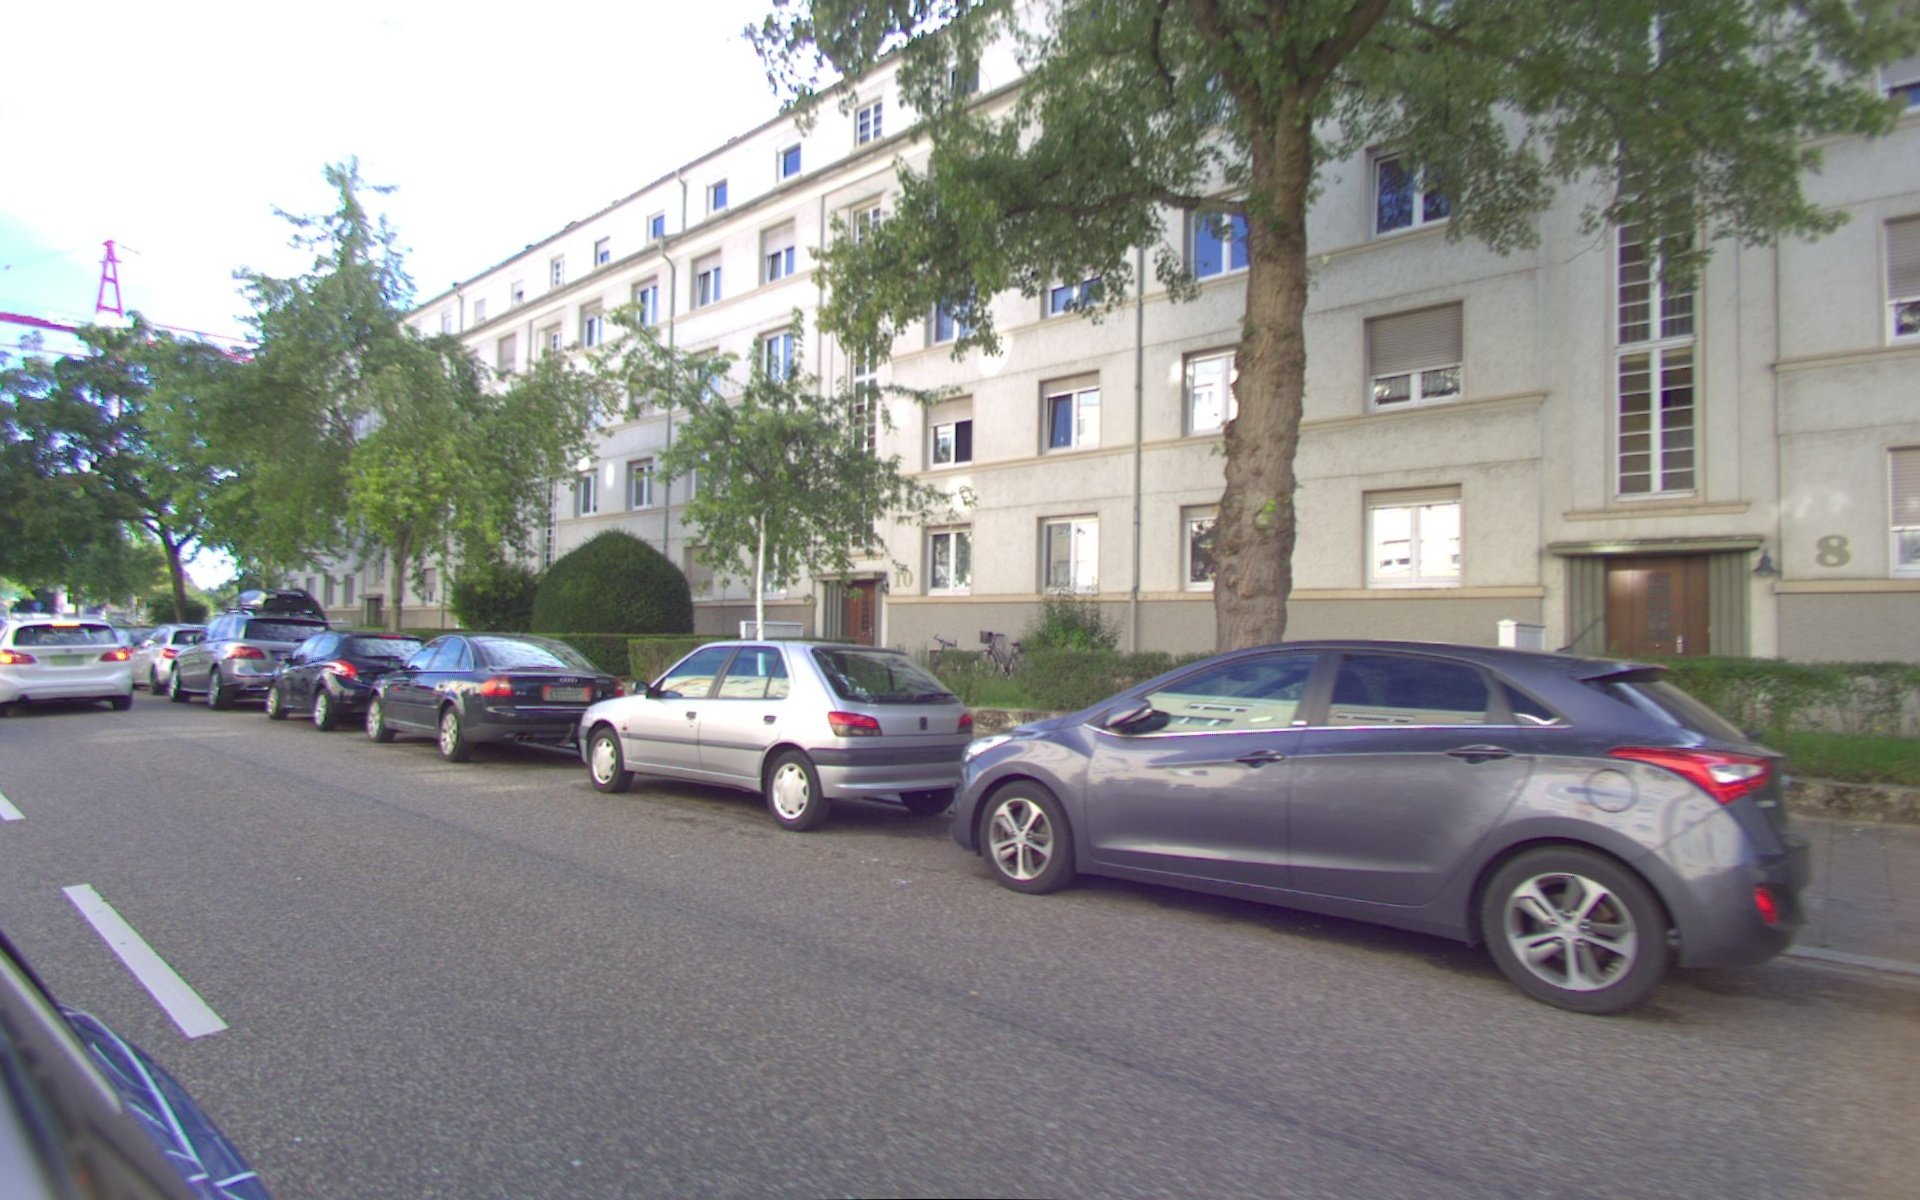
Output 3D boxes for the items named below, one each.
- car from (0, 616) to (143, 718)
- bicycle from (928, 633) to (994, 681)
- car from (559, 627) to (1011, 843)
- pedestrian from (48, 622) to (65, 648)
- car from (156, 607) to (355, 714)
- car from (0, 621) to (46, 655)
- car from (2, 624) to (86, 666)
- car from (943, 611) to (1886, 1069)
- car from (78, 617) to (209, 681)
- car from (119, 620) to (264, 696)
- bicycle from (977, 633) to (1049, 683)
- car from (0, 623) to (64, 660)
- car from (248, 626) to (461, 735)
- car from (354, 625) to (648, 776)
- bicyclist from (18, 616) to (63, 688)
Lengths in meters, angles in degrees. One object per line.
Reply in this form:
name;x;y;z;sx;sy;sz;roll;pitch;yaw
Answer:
car;-15.388;1.073;17.127;4.010;1.540;1.839;-2;-3;43
bicycle;0.010;1.291;23.224;1.540;1.064;0.536;-1;-2;41
car;-1.637;1.001;8.650;3.961;1.429;1.584;-1;-6;40
pedestrian;-61.548;2.365;68.919;0.775;1.781;0.734;-2;-2;41
car;-13.547;1.121;19.343;4.967;1.807;1.857;-1;-5;41
car;-44.036;1.758;47.058;4.368;1.497;1.801;-1;-5;42
car;-36.054;1.753;39.809;4.797;1.497;1.835;-1;-6;42
car;1.969;0.877;5.217;4.010;1.479;1.598;-1;-6;40
car;-21.624;1.283;26.728;4.942;1.497;1.835;-1;-6;42
car;-17.693;1.297;23.216;4.459;1.585;1.835;-1;-4;43
bicycle;1.148;1.254;22.152;1.576;1.057;0.563;-1;-2;41
car;-40.044;1.751;43.428;4.682;1.497;1.835;-1;-3;42
car;-9.578;1.214;15.880;4.119;1.492;1.667;-1;-6;43
car;-5.674;1.114;12.221;4.453;1.492;1.666;-2;-6;45
bicyclist;-21.211;1.182;23.344;0.990;1.613;0.634;-2;-2;42
